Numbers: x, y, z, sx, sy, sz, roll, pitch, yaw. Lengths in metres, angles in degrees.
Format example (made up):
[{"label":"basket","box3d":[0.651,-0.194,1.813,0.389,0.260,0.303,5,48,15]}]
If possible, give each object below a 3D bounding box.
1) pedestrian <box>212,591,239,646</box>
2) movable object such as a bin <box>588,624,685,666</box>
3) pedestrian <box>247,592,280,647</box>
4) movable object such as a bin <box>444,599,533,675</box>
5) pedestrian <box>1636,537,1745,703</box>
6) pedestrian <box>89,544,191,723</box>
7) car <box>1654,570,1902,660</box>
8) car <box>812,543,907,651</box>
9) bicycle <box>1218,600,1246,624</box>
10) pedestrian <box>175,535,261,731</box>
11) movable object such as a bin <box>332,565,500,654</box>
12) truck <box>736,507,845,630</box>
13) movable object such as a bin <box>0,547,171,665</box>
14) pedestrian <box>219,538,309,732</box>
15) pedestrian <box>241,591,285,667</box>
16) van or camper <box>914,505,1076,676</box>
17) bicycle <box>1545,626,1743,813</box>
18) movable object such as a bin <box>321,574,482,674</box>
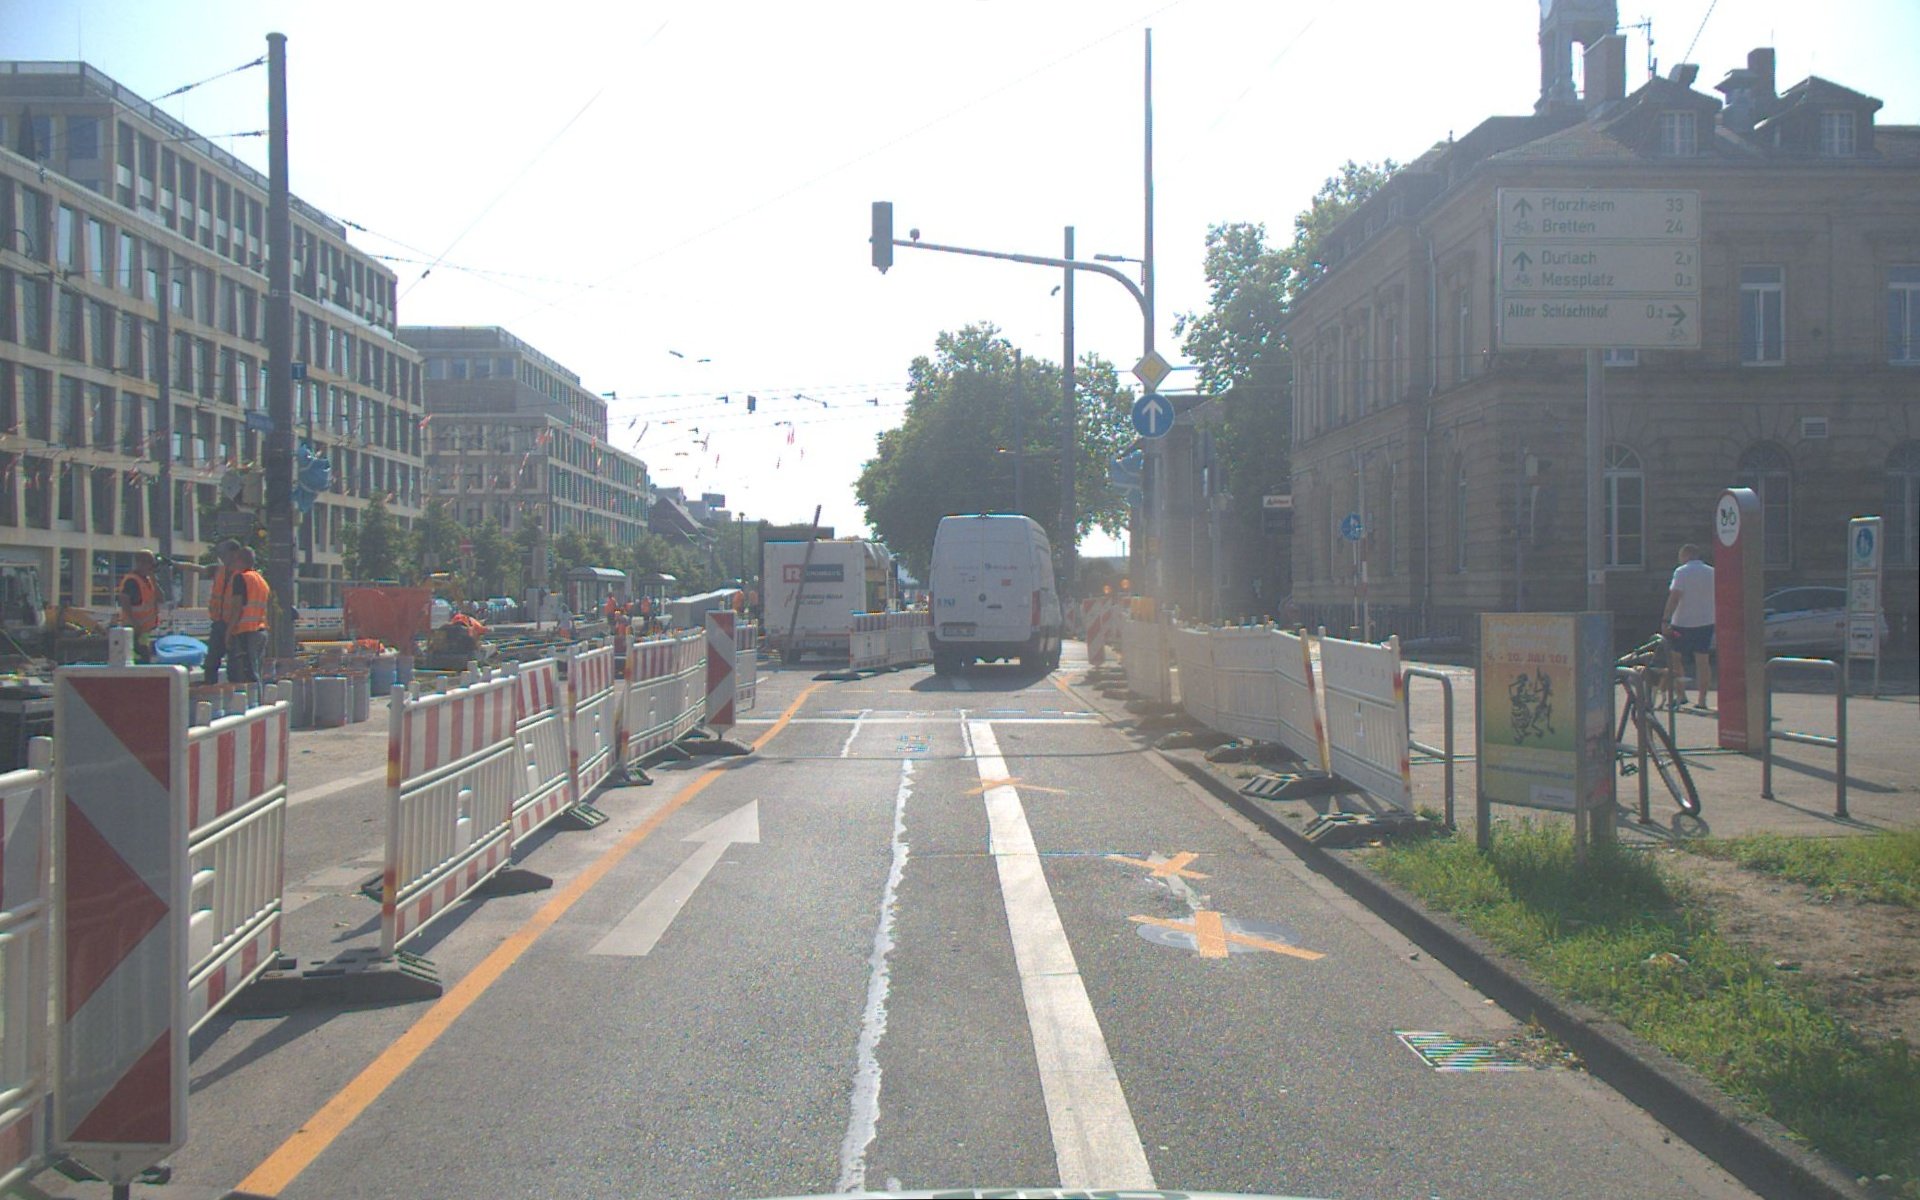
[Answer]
[{"label":"pedestrian","box3d":[-25.894,0.651,58.312,0.740,1.897,0.807,0,0,-13]},{"label":"movable object such as a bin","box3d":[-5.867,0.808,29.966,1.687,0.726,0.716,-1,-1,32]},{"label":"pedestrian","box3d":[-24.055,0.661,57.138,0.907,1.897,0.808,0,0,-12]},{"label":"movable object such as a bin","box3d":[-8.053,0.614,28.334,0.868,1.232,2.212,-1,0,0]},{"label":"pedestrian","box3d":[7.964,0.208,18.041,0.851,1.767,0.669,0,0,-11]},{"label":"pedestrian","box3d":[-8.910,0.361,17.991,0.704,1.903,0.708,-1,-1,7]},{"label":"car","box3d":[15.728,0.288,31.943,3.915,1.563,1.666,-2,0,4]},{"label":"car","box3d":[-2.434,-0.059,41.775,2.163,2.467,7.196,-1,0,-2]},{"label":"bicycle","box3d":[12.784,0.564,77.892,0.484,1.017,1.808,0,2,-20]},{"label":"pedestrian","box3d":[-7.982,0.343,17.791,0.690,2.050,0.665,0,-1,-38]},{"label":"movable object such as a bin","box3d":[-19.996,0.393,61.476,3.540,3.010,8.474,1,-1,-1]},{"label":"truck","box3d":[-6.127,-1.064,58.516,2.744,3.981,8.390,1,0,-13]},{"label":"movable object such as a bin","box3d":[-23.077,0.161,42.383,4.769,2.884,2.415,0,-1,-39]},{"label":"pedestrian","box3d":[-7.246,0.355,17.214,0.707,1.960,0.675,0,-1,-38]},{"label":"pedestrian","box3d":[-17.948,0.748,42.611,0.769,1.946,0.723,-1,-1,7]},{"label":"van or camper","box3d":[0.746,-0.191,29.733,2.070,2.728,5.255,-2,0,10]},{"label":"bicycle","box3d":[4.151,0.691,10.153,0.527,1.024,1.571,-2,0,-1]},{"label":"movable object such as a bin","box3d":[-9.365,0.385,27.955,1.567,1.586,3.286,-1,0,0]}]
